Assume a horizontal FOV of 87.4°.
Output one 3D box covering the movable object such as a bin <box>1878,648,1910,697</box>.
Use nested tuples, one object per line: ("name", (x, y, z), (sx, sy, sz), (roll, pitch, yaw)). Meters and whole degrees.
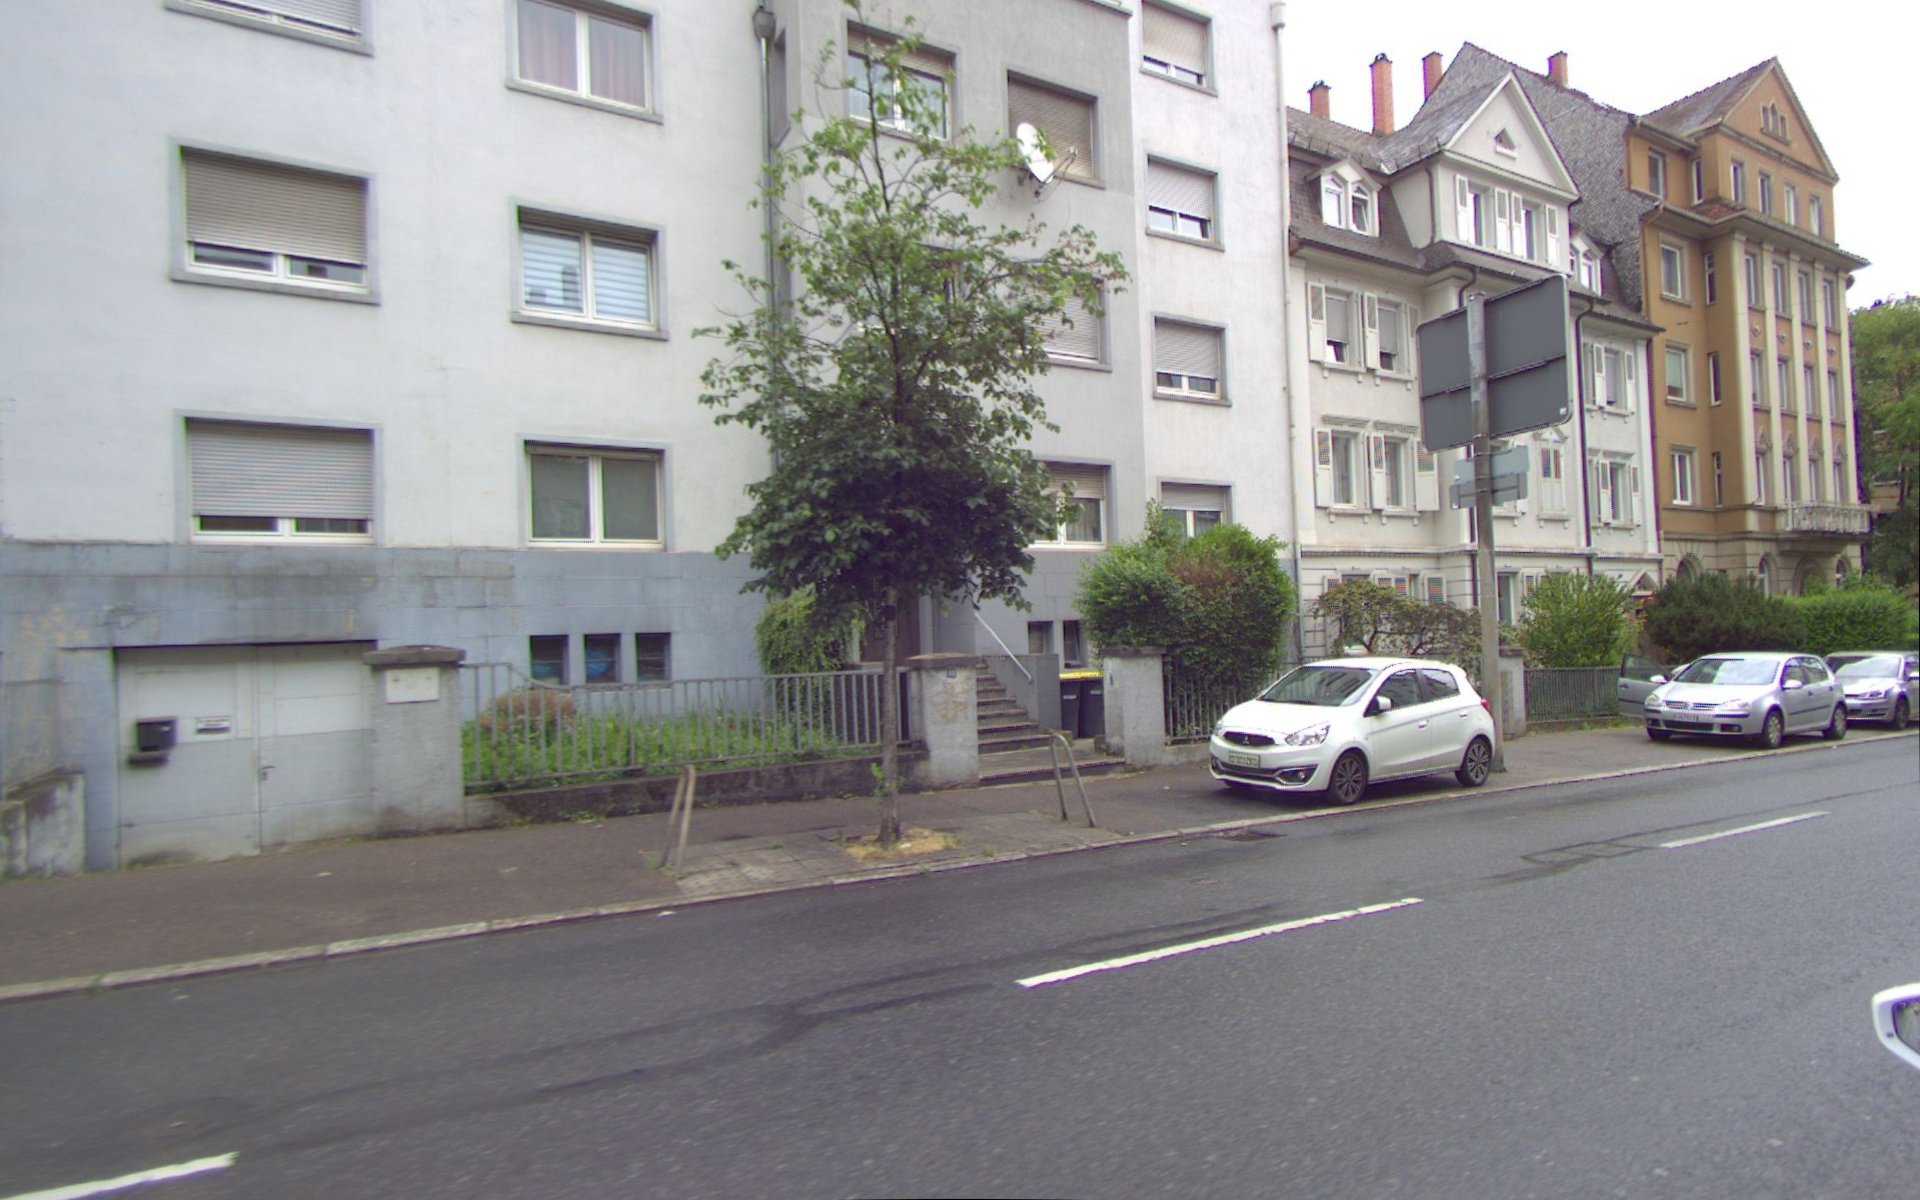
("movable object such as a bin", (25.574, 1.969, 27.500), (0.642, 1.316, 0.437), (1, -3, -31))

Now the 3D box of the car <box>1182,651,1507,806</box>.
("car", (4.533, 1.381, 11.723), (3.755, 1.527, 1.637), (2, -3, -32))

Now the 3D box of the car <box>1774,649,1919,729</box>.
("car", (18.050, 1.696, 19.947), (3.889, 1.408, 1.675), (1, -2, -30))

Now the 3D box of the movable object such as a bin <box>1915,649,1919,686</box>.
("movable object such as a bin", (27.837, 1.942, 28.841), (0.643, 1.054, 0.424), (1, -3, -31))

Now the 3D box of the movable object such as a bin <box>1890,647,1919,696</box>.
("movable object such as a bin", (26.410, 1.990, 28.047), (0.642, 1.326, 0.437), (1, -3, -31))

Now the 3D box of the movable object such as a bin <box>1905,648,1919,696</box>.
("movable object such as a bin", (27.237, 2.040, 28.487), (0.602, 1.326, 0.437), (1, -3, -31))

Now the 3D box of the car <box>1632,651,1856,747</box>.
("car", (13.265, 1.595, 16.963), (3.863, 1.408, 1.675), (1, -2, -30))

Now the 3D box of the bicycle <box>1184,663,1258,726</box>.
("bicycle", (4.870, 1.753, 18.821), (0.478, 1.104, 1.415), (1, -3, -30))
